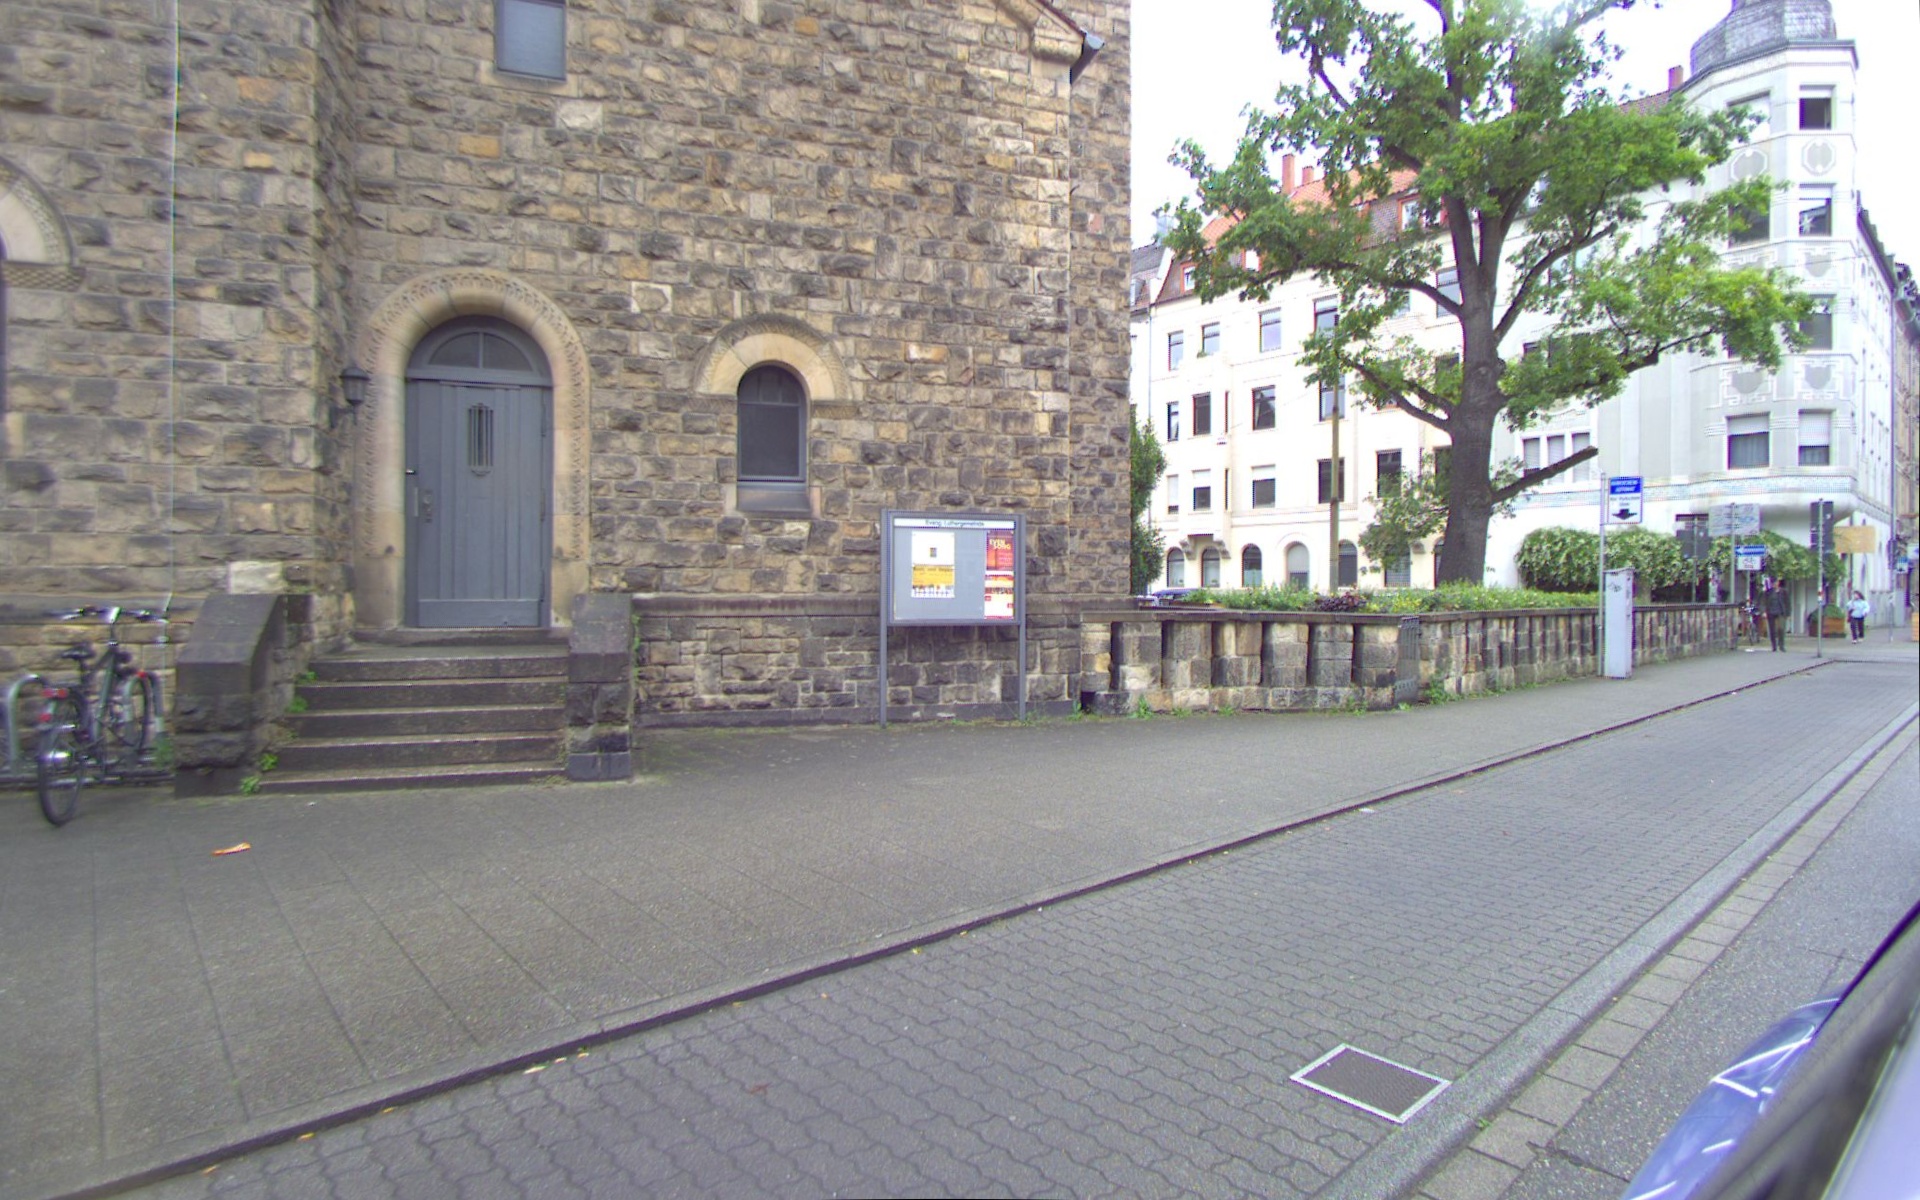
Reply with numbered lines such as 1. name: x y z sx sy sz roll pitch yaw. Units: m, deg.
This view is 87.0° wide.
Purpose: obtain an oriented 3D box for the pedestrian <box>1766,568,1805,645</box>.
1. pedestrian: 20.635 0.143 25.296 0.681 1.896 0.645 0 1 -42

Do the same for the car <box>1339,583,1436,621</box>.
1. car: 16.887 0.051 40.102 1.421 1.427 3.271 0 1 -38

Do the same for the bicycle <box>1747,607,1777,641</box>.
1. bicycle: 24.495 0.732 30.900 1.990 0.904 0.390 -3 3 -42

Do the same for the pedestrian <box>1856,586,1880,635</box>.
1. pedestrian: 27.731 0.312 30.904 0.385 1.479 0.481 0 1 -42

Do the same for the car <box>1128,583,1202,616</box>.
1. car: 9.645 -0.044 47.719 1.421 1.427 3.271 0 1 -38

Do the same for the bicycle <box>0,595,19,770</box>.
1. bicycle: -6.263 0.572 5.982 0.550 1.125 1.717 0 3 -27

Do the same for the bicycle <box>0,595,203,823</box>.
1. bicycle: -5.090 0.547 6.088 0.502 1.067 1.994 0 3 -27
